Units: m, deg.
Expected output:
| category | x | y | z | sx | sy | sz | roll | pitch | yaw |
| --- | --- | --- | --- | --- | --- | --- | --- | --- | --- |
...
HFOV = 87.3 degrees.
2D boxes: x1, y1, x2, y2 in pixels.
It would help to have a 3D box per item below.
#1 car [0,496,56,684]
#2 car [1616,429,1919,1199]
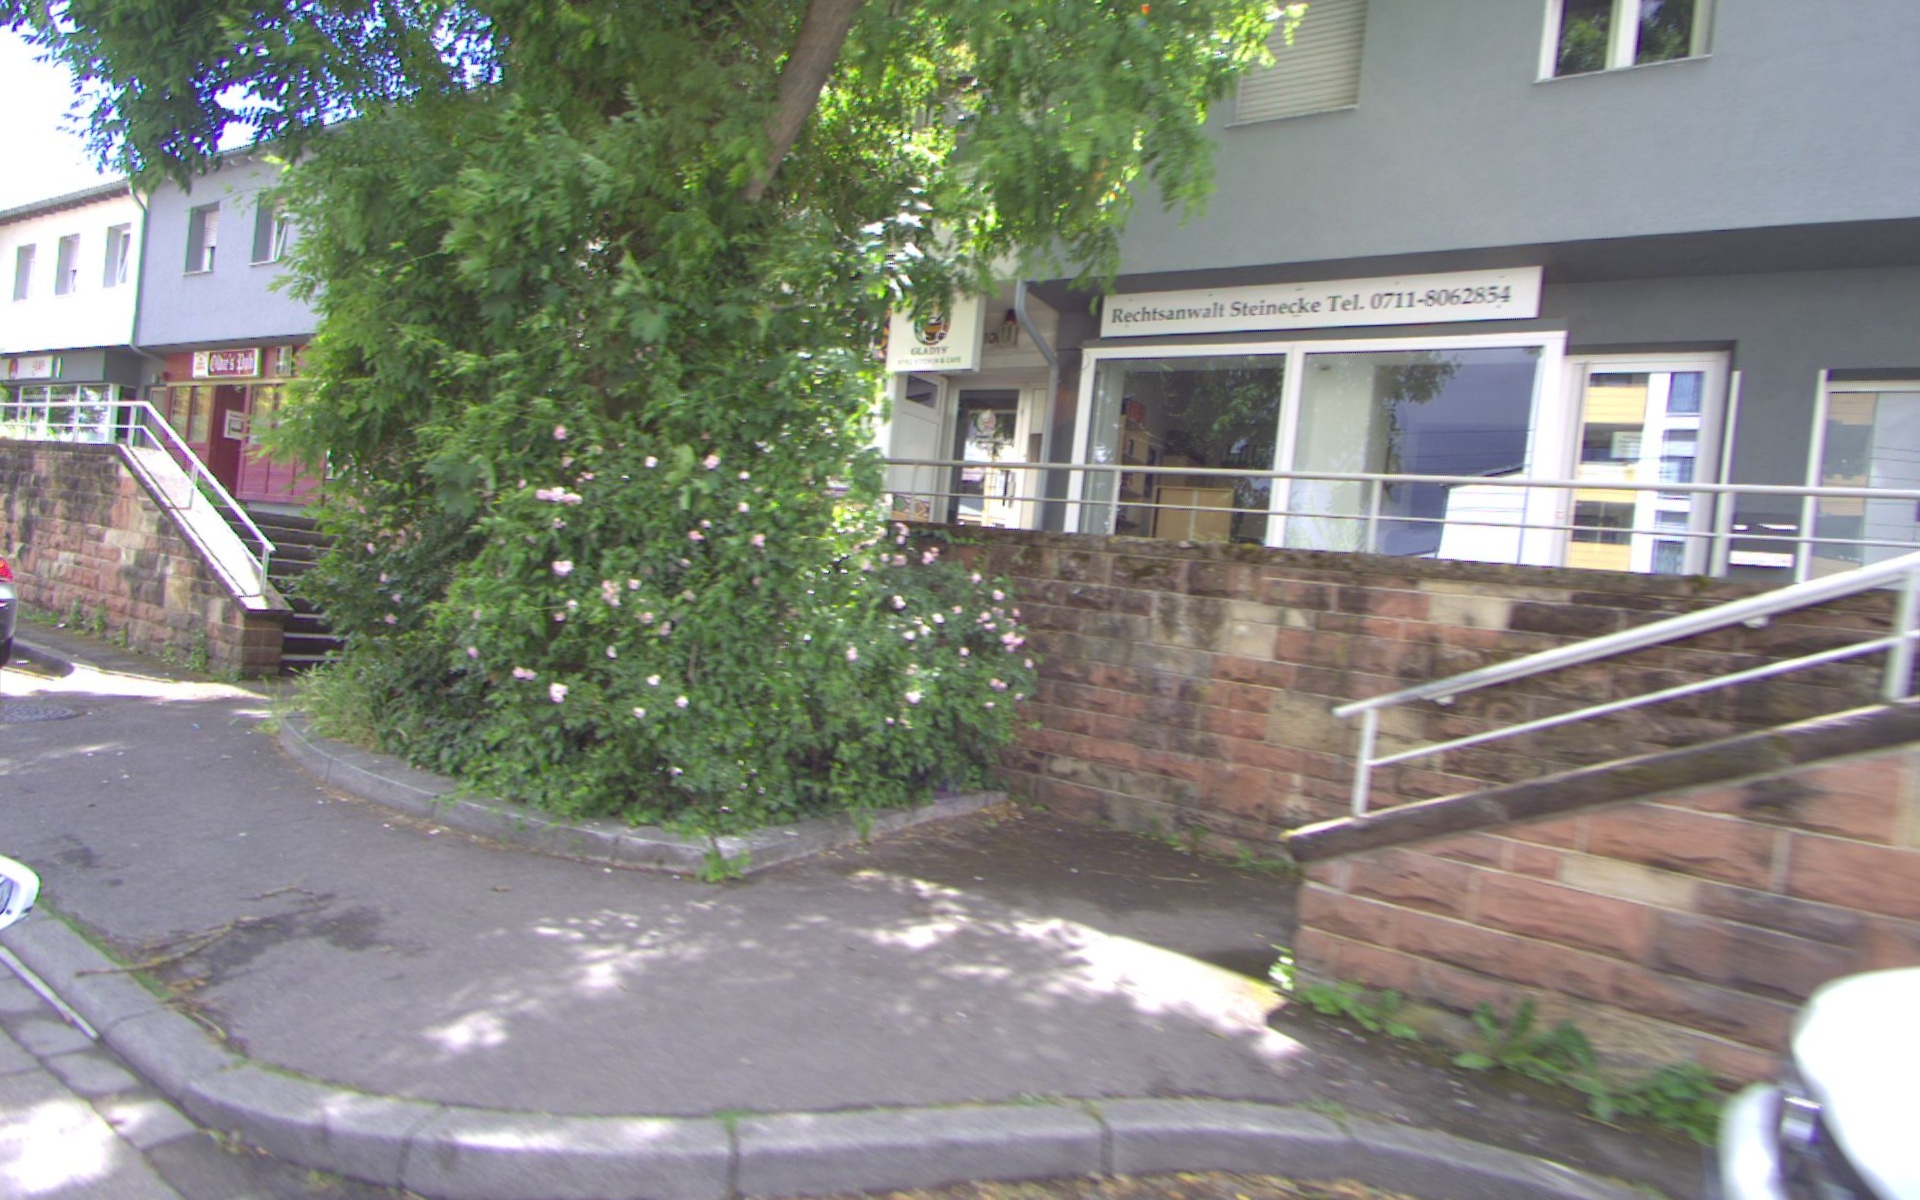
| category | x | y | z | sx | sy | sz | roll | pitch | yaw |
| --- | --- | --- | --- | --- | --- | --- | --- | --- | --- |
| car | -9.506 | -0.324 | 8.377 | 4.342 | 1.423 | 1.837 | 7 | 1 | 33 |
| car | 3.111 | 0.965 | 0.524 | 4.502 | 1.703 | 1.824 | 7 | 1 | 34 |
